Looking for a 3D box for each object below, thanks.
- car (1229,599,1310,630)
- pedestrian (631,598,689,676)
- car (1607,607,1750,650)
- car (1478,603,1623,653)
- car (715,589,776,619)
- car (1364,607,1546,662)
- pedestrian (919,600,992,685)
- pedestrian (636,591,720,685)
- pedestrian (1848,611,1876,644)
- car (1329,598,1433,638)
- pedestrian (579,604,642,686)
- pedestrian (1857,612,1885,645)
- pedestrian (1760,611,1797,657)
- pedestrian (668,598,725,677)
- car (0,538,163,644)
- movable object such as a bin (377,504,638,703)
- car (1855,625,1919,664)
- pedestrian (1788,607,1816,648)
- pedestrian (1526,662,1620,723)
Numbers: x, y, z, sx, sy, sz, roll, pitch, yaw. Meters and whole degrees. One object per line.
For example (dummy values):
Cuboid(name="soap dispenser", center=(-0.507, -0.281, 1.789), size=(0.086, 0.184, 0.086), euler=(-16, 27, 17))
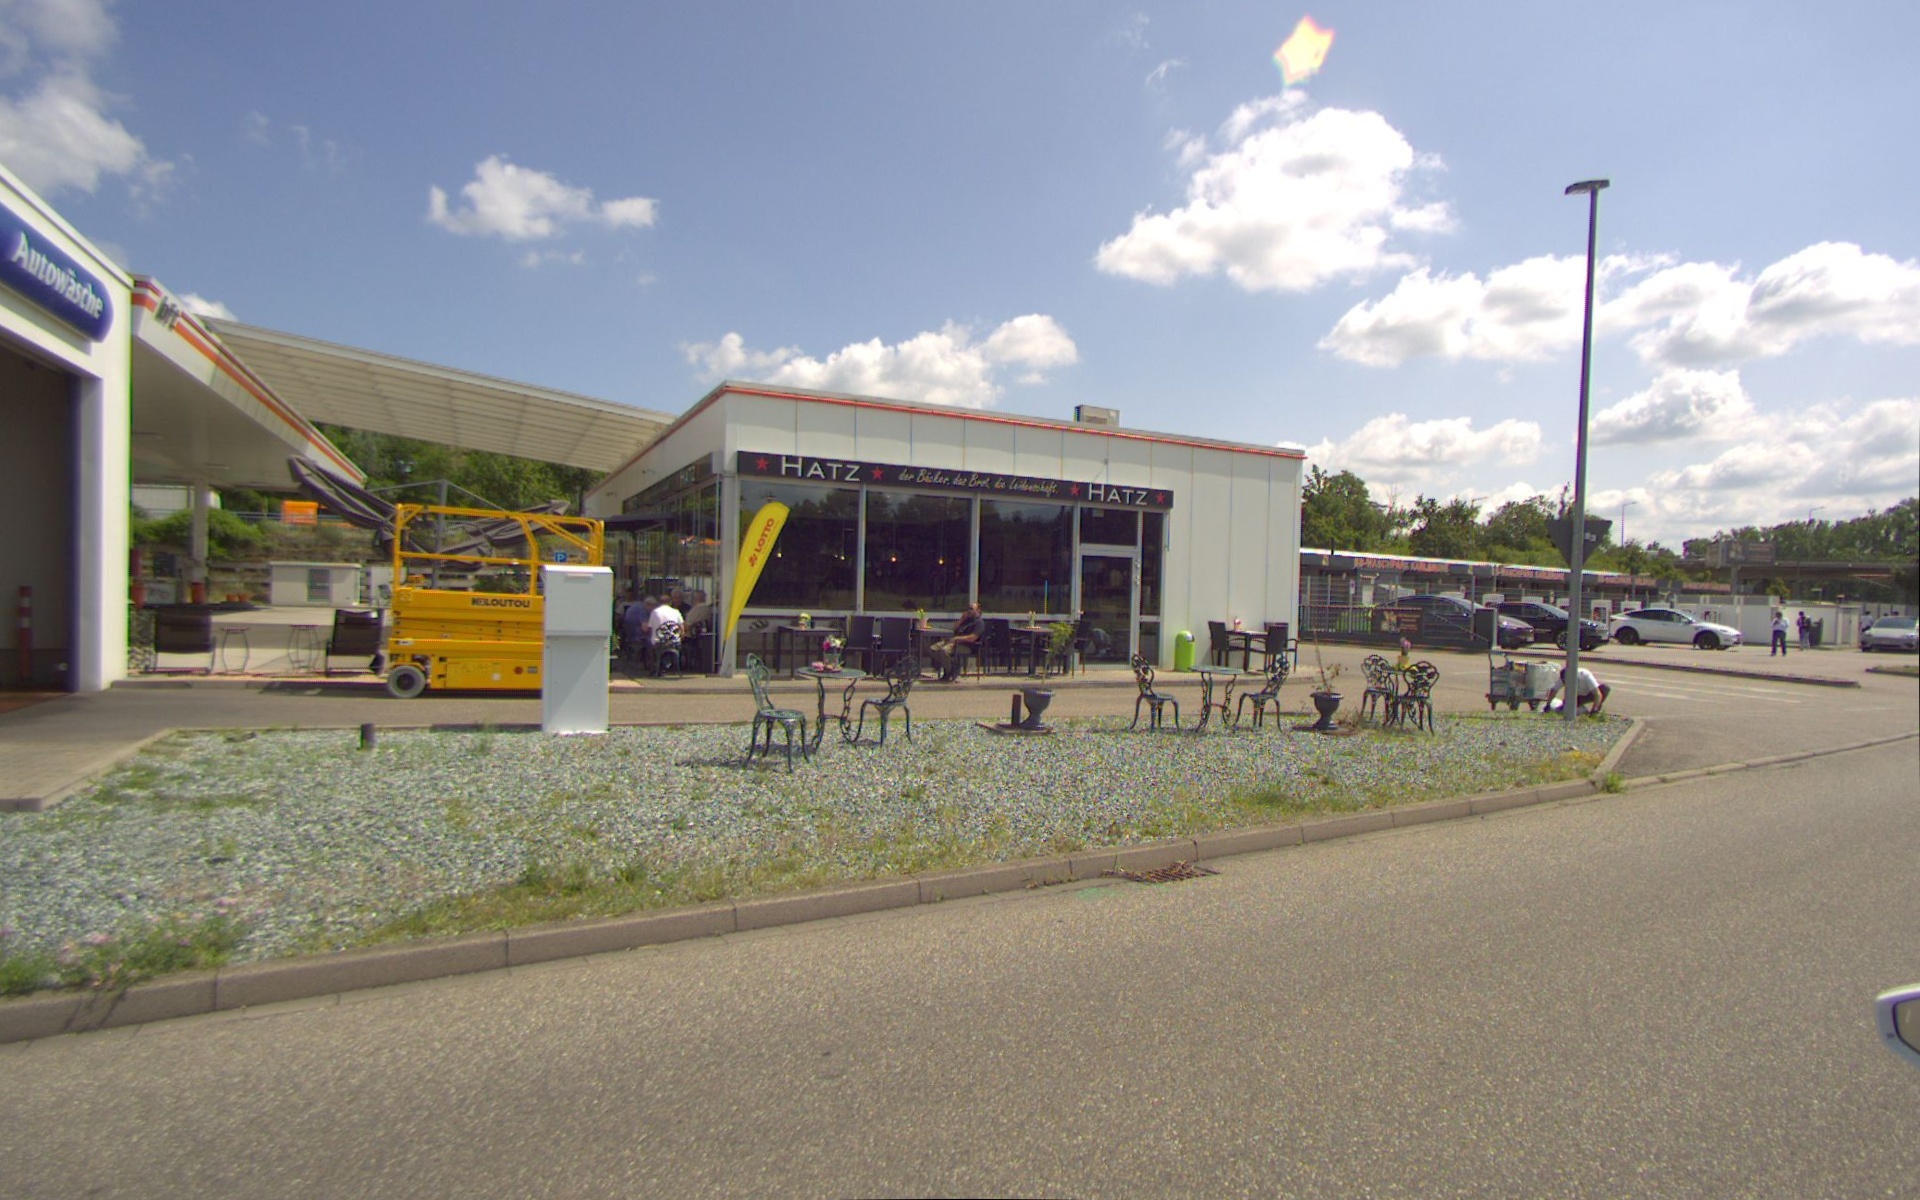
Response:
Cuboid(name="car", center=(17.323, 0.811, 56.329), size=(1.981, 1.583, 3.959), euler=(2, 0, -36))
Cuboid(name="pedestrian", center=(-4.751, 0.575, 15.927), size=(0.741, 1.189, 0.617), euler=(1, 1, -5))
Cuboid(name="car", center=(30.230, 1.180, 42.380), size=(1.983, 1.544, 4.515), euler=(2, 1, -38))
Cuboid(name="car", center=(20.871, 0.980, 35.618), size=(1.982, 1.539, 3.957), euler=(2, 1, -37))
Cuboid(name="car", center=(-11.298, 0.189, 52.628), size=(1.811, 1.531, 4.164), euler=(1, 0, -32))
Cuboid(name="car", center=(15.731, 1.051, 32.145), size=(2.218, 1.475, 4.708), euler=(1, 1, -38))
Cuboid(name="pedestrian", center=(-0.080, 0.652, 15.748), size=(0.887, 1.273, 0.751), euler=(1, 1, -25))
Cuboid(name="pedestrian", center=(-4.199, 0.549, 14.935), size=(0.859, 1.325, 0.929), euler=(1, 1, -44))
Cuboid(name="pedestrian", center=(44.793, 1.352, 49.904), size=(0.699, 1.586, 0.759), euler=(2, 0, 10))
Cuboid(name="car", center=(17.358, 0.763, 41.383), size=(4.254, 1.502, 1.904), euler=(2, 1, -34))
Cuboid(name="pedestrian", center=(-5.044, 0.632, 14.477), size=(0.746, 1.126, 0.816), euler=(1, 1, -27))
Cuboid(name="pedestrian", center=(44.556, 1.389, 49.144), size=(0.707, 1.600, 0.714), euler=(2, 0, 3))
Cuboid(name="pedestrian", center=(30.712, 1.280, 37.700), size=(0.933, 1.675, 0.855), euler=(1, 1, -39))
Cuboid(name="pedestrian", center=(-4.104, 0.582, 15.694), size=(0.741, 1.189, 0.617), euler=(1, 1, -5))
Cuboid(name="car", center=(-19.299, -0.194, 20.283), size=(4.604, 2.040, 1.988), euler=(2, 0, -24))
Cuboid(name="movable object such as a bin", center=(-5.391, 0.091, 12.108), size=(2.670, 2.181, 1.058), euler=(3, 0, -27))
Cuboid(name="car", center=(42.856, 1.990, 45.935), size=(4.729, 1.538, 1.917), euler=(-1, 2, -36))
Cuboid(name="pedestrian", center=(37.619, 1.217, 44.887), size=(0.722, 1.775, 0.854), euler=(1, 1, -44))
Cuboid(name="pedestrian", center=(8.935, 1.327, 14.653), size=(0.808, 0.770, 0.859), euler=(1, 1, -28))
